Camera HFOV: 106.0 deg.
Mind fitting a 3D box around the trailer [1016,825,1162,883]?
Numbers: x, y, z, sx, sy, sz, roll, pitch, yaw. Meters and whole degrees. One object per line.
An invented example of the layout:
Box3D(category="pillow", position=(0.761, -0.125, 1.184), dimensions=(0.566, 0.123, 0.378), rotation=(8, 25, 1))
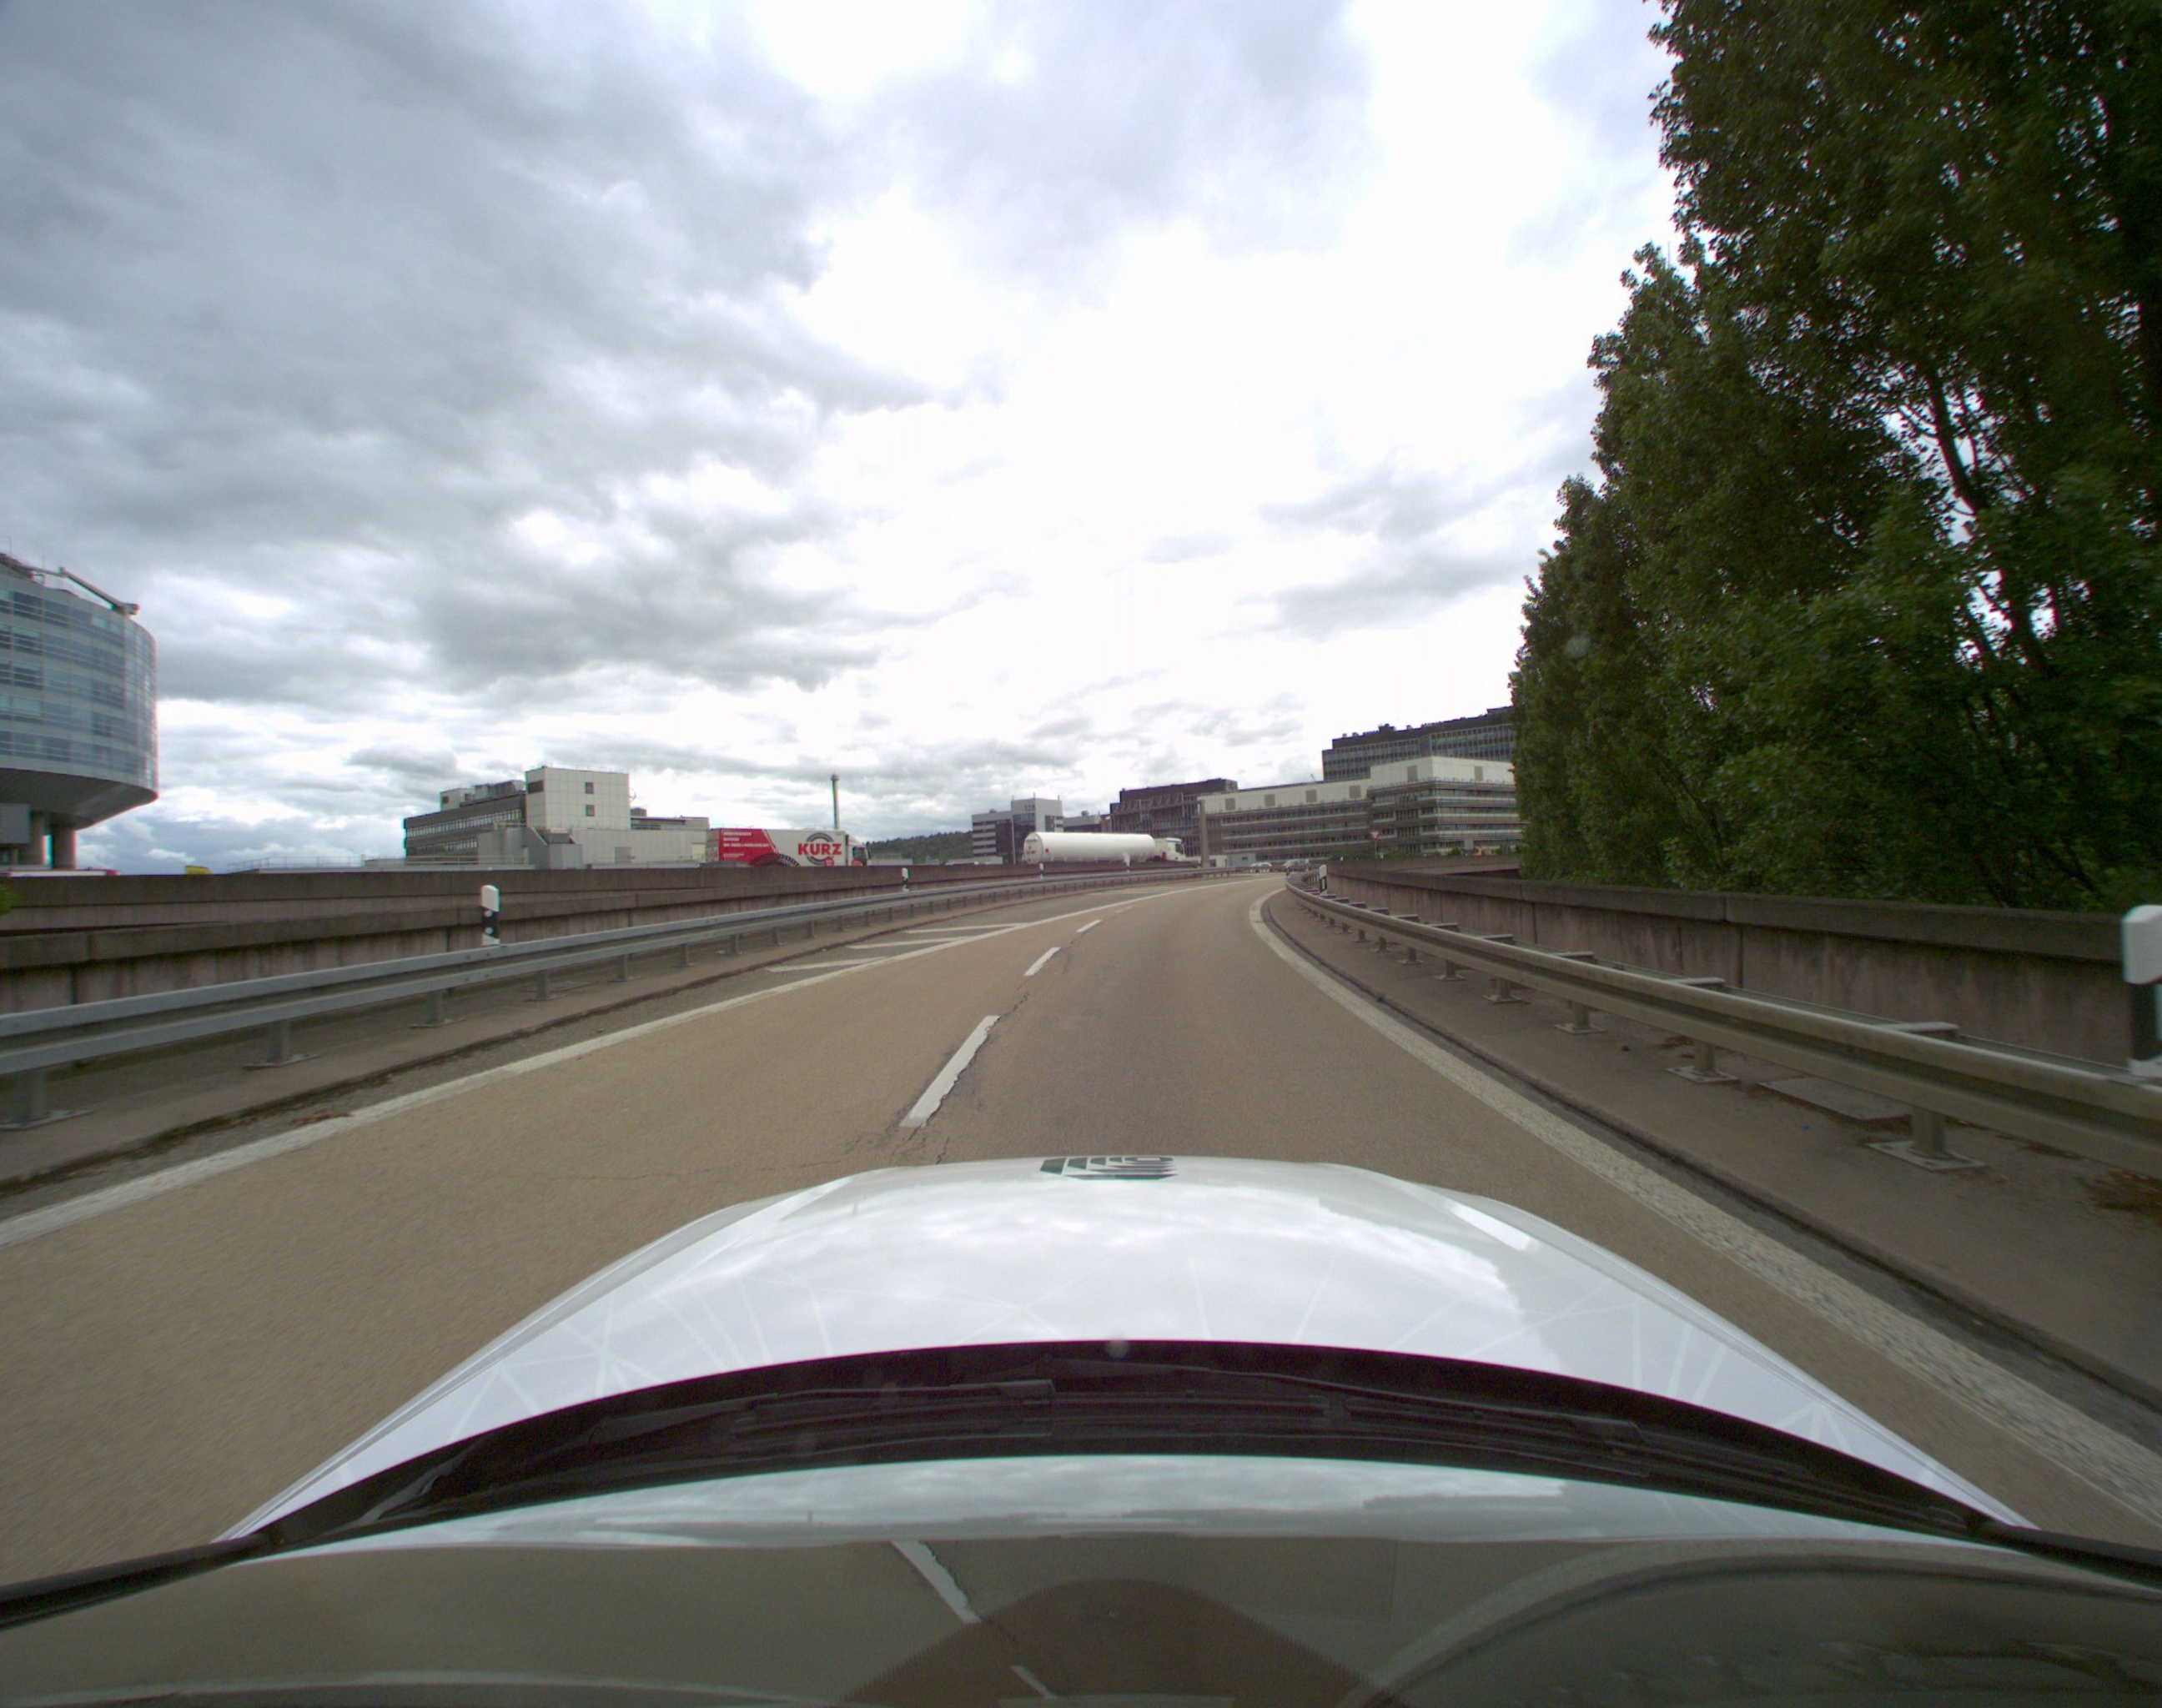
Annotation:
Box3D(category="trailer", position=(0.798, -0.043, 58.305), dimensions=(11.212, 3.738, 2.768), rotation=(-1, -2, -40))

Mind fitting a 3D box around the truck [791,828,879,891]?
Box3D(category="truck", position=(-15.215, 0.314, 50.447), dimensions=(4.462, 3.690, 2.667), rotation=(-1, -2, -40))

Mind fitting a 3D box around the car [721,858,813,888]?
Box3D(category="car", position=(-17.077, 1.016, 44.391), dimensions=(4.287, 1.505, 1.831), rotation=(-1, 0, -40))

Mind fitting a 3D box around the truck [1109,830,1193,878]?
Box3D(category="truck", position=(5.386, -0.002, 62.127), dimensions=(5.995, 3.431, 2.745), rotation=(-1, -2, -40))

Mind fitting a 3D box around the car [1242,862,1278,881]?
Box3D(category="car", position=(21.677, 2.080, 98.667), dimensions=(4.018, 2.013, 1.978), rotation=(0, 4, -37))

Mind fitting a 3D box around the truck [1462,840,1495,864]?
Box3D(category="truck", position=(62.854, -0.303, 128.622), dimensions=(5.133, 3.480, 2.718), rotation=(-1, -2, -41))

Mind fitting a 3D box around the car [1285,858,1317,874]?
Box3D(category="car", position=(24.990, 1.344, 92.524), dimensions=(3.704, 1.591, 1.631), rotation=(-1, -2, -39))

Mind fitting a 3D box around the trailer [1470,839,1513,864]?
Box3D(category="trailer", position=(66.398, -0.449, 131.726), dimensions=(9.406, 3.637, 2.710), rotation=(-1, -2, -41))

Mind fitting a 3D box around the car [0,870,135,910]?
Box3D(category="car", position=(-44.332, 1.523, 35.537), dimensions=(3.668, 1.518, 1.669), rotation=(-1, 2, -39))

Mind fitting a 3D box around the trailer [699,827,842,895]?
Box3D(category="trailer", position=(-18.164, 0.382, 47.924), dimensions=(7.351, 3.690, 2.667), rotation=(-1, -2, -40))

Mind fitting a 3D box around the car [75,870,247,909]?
Box3D(category="car", position=(-42.004, 1.563, 37.396), dimensions=(4.914, 1.581, 1.978), rotation=(-1, 0, -37))
